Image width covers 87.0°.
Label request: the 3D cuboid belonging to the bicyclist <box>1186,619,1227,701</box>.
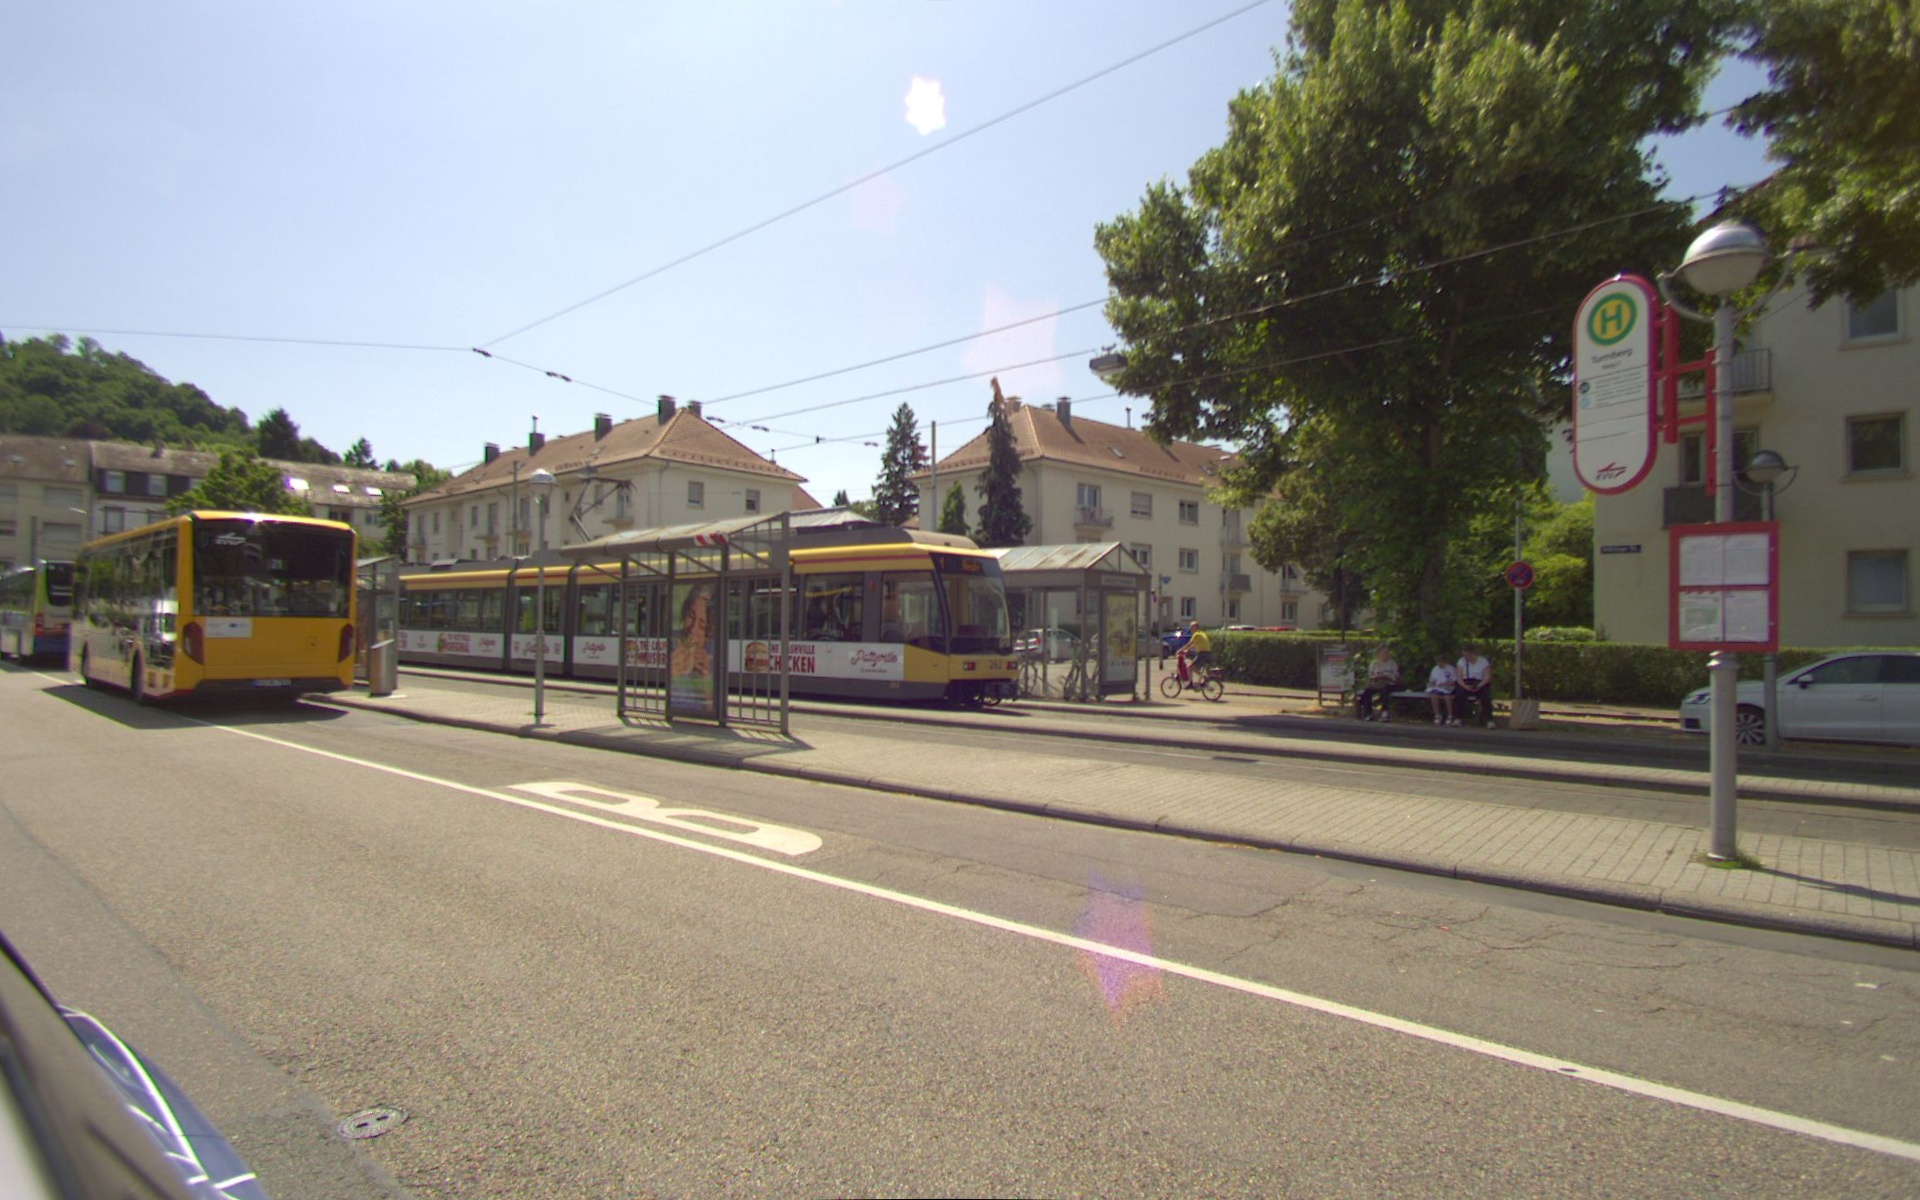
[{"bbox_3d":[5.467,1.307,22.449,0.672,1.756,0.628,1,1,41],"label":"bicyclist"}]

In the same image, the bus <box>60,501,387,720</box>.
[{"bbox_3d":[-15.272,0.072,20.327,12.194,3.271,2.867,1,1,42],"label":"bus"}]

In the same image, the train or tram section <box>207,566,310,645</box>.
[{"bbox_3d":[-33.045,0.298,47.636,4.415,3.522,2.932,0,-2,41],"label":"train or tram section"}]

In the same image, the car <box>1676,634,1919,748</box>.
[{"bbox_3d":[12.121,1.190,13.563,3.999,1.283,1.552,1,1,42],"label":"car"}]

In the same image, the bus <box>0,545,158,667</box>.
[{"bbox_3d":[-29.890,0.277,33.683,12.033,3.453,2.878,-2,-1,41],"label":"bus"}]

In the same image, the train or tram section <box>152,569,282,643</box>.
[{"bbox_3d":[-39.317,0.297,53.275,12.708,3.521,2.932,0,0,42],"label":"train or tram section"}]

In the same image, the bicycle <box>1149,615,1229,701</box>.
[{"bbox_3d":[5.135,1.274,22.755,1.669,1.827,0.625,1,1,42],"label":"bicycle"}]

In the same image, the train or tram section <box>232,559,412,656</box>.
[{"bbox_3d":[-26.779,0.298,42.025,12.652,3.521,2.932,0,0,42],"label":"train or tram section"}]

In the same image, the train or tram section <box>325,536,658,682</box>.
[{"bbox_3d":[-15.668,0.246,32.189,17.345,3.670,2.932,0,0,42],"label":"train or tram section"}]

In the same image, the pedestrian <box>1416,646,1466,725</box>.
[{"bbox_3d":[7.499,1.319,15.783,0.540,1.147,0.608,1,1,44],"label":"pedestrian"}]

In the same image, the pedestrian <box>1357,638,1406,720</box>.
[{"bbox_3d":[6.826,1.264,16.375,0.540,1.260,0.608,1,1,44],"label":"pedestrian"}]

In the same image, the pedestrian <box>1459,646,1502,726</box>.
[{"bbox_3d":[7.928,1.301,15.409,0.457,1.147,0.505,1,1,44],"label":"pedestrian"}]

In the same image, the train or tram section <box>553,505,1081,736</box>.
[{"bbox_3d":[-4.008,0.336,21.829,13.988,3.670,2.932,0,0,42],"label":"train or tram section"}]
